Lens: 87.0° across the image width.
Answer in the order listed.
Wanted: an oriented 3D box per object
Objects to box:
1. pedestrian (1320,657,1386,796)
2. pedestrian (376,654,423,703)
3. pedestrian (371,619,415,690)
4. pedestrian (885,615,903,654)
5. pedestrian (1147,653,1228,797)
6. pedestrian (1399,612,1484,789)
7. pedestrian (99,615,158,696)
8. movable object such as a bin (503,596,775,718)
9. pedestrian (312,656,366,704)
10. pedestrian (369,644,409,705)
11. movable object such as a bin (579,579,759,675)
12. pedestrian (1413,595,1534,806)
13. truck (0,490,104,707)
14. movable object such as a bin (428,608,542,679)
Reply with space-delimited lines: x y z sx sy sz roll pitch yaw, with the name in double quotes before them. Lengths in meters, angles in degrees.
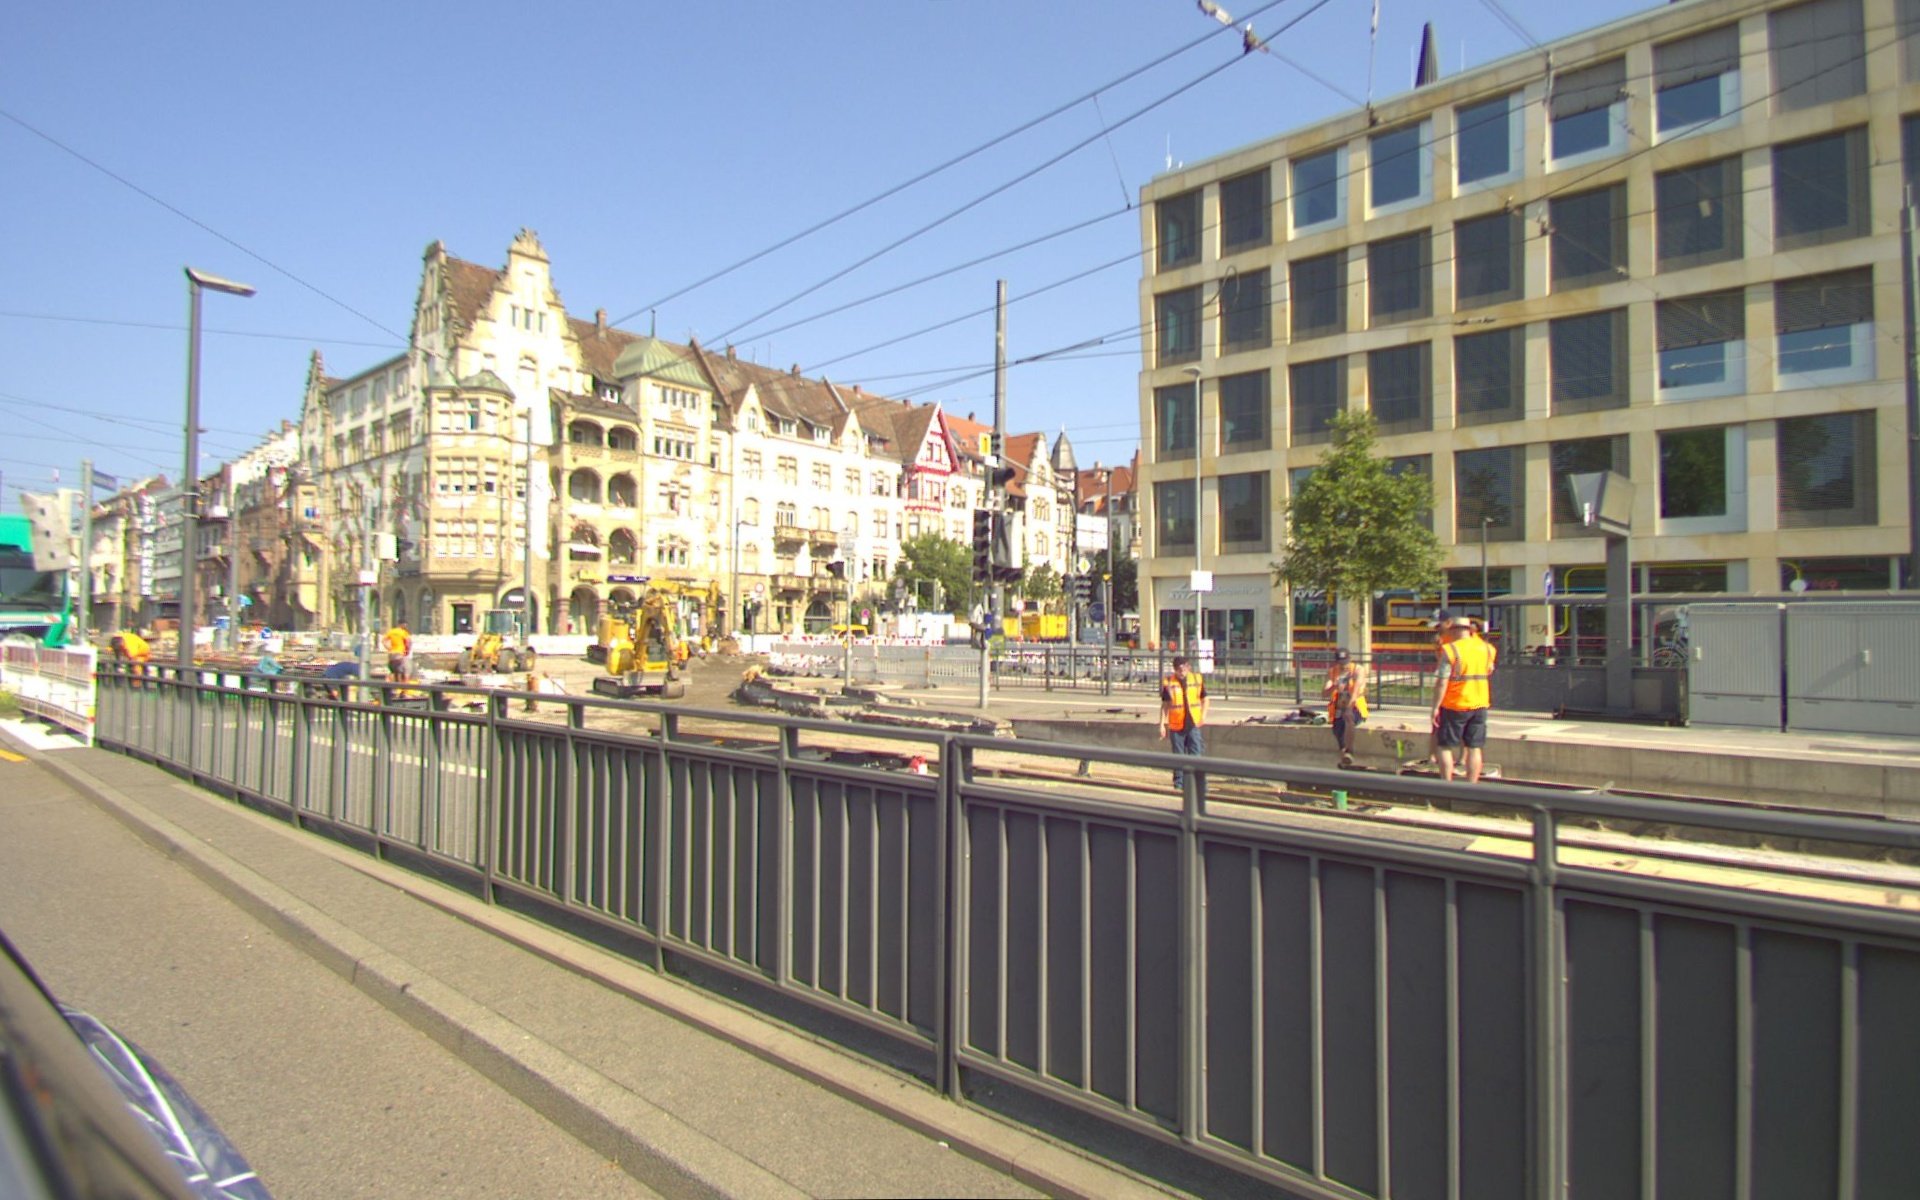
"pedestrian" 4.615 1.464 11.923 0.620 1.566 0.638 -1 -3 15
"pedestrian" -11.888 1.653 21.468 0.933 0.996 0.506 -2 -3 36
"pedestrian" -12.737 1.219 22.749 0.804 1.578 0.558 2 -3 -29
"pedestrian" -3.496 1.815 53.640 0.658 2.029 0.831 1 -2 -25
"pedestrian" 2.759 1.485 12.316 0.657 1.676 0.774 1 -3 -15
"pedestrian" 5.160 1.053 10.876 0.634 1.830 0.624 0 -3 9
"pedestrian" -16.770 1.113 20.414 0.691 1.578 0.752 -2 -4 41
"movable object such as a bin" -9.370 1.421 28.930 8.473 2.980 3.575 0 -1 42
"pedestrian" -12.376 1.581 20.187 0.808 0.933 0.514 1 -3 -20
"pedestrian" -14.861 1.926 26.360 0.555 1.578 0.695 -1 -3 32
"movable object such as a bin" -14.444 1.367 50.289 7.259 4.380 4.981 2 -2 -36
"pedestrian" 5.057 0.956 9.989 0.713 1.966 0.790 2 -3 -34
"truck" -20.958 0.067 20.529 8.382 3.942 2.773 -2 -1 29
"movable object such as a bin" -20.447 1.874 43.861 2.418 2.856 4.810 1 -2 4
